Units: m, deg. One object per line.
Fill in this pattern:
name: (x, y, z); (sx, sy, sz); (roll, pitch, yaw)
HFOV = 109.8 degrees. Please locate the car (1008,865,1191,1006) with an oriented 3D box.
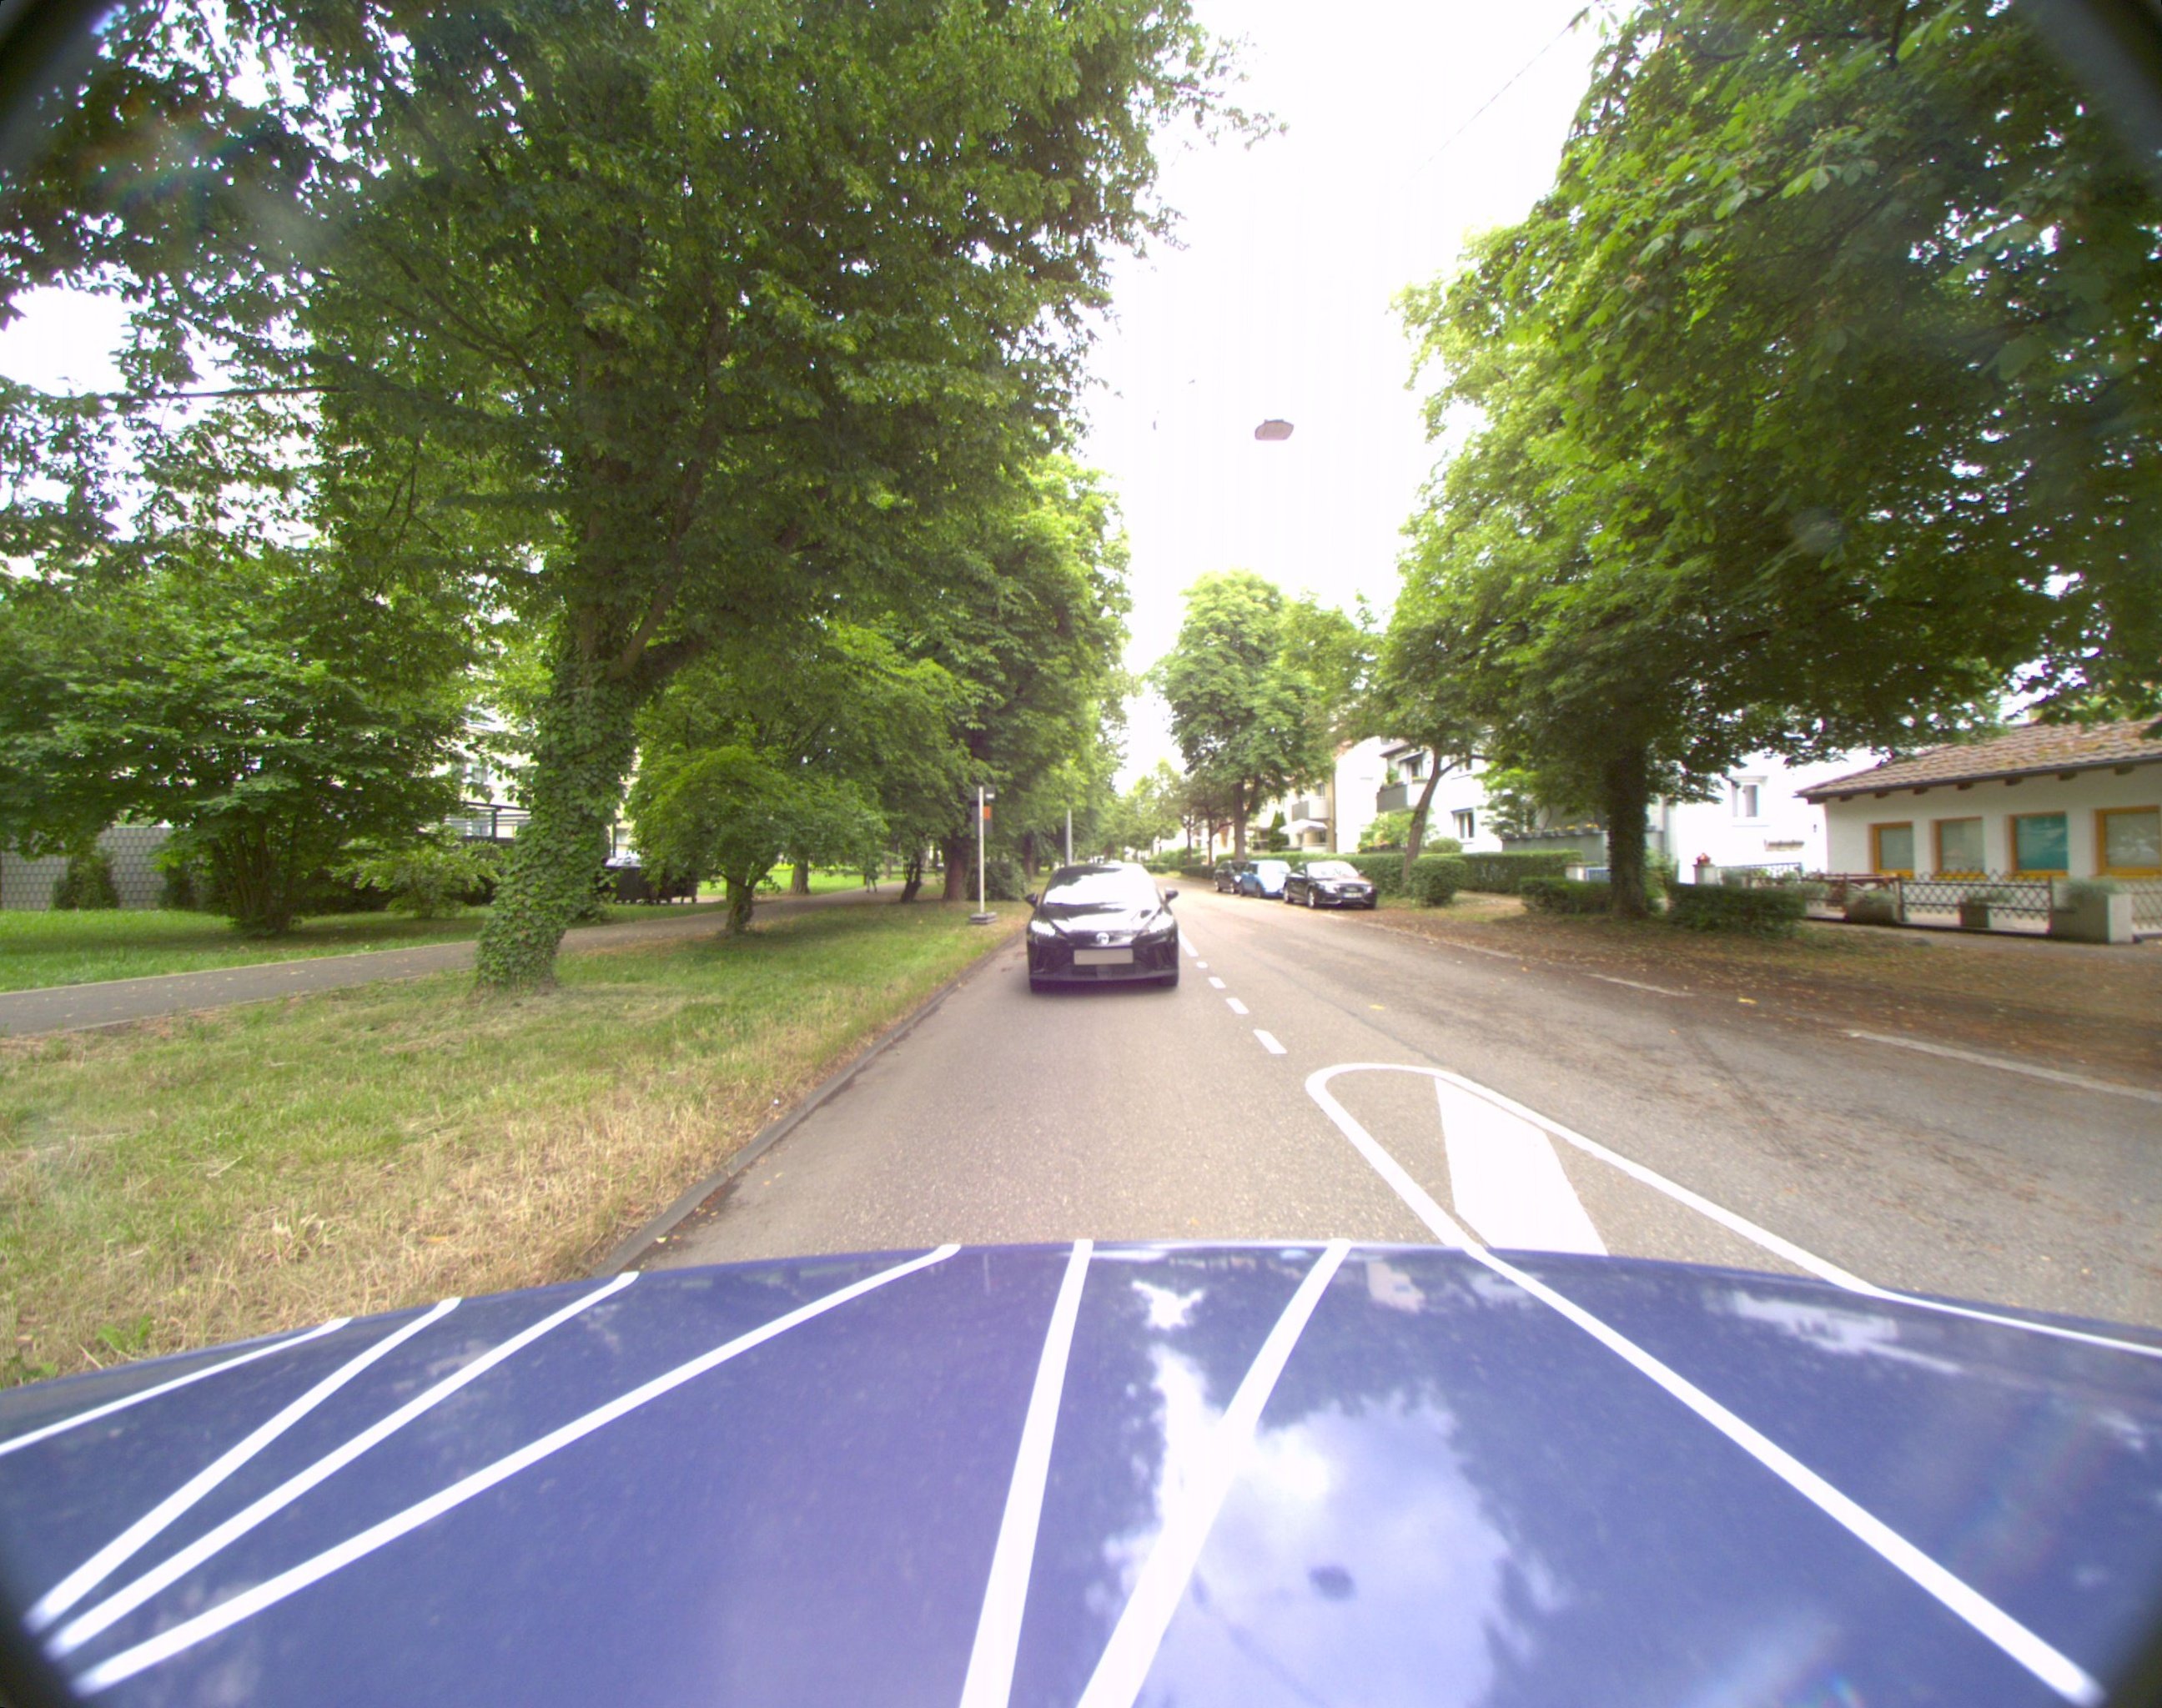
car: (0.227, 0.925, 10.612); (1.998, 1.491, 4.615); (0, 0, 1)

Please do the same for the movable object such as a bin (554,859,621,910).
movable object such as a bin: (-14.579, 0.873, 22.497); (1.194, 1.448, 1.348); (0, 0, -8)

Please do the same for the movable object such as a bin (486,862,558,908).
movable object such as a bin: (-16.520, 0.896, 22.494); (1.194, 1.334, 1.348); (0, 0, -8)

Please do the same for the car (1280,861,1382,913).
car: (7.399, 0.920, 22.888); (1.735, 1.394, 4.172); (0, 0, 1)

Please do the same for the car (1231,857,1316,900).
car: (7.200, 0.886, 28.910); (1.889, 1.492, 4.565); (0, 0, -3)

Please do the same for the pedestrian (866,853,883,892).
pedestrian: (-9.453, 0.837, 34.772); (0.565, 1.730, 0.570); (1, 0, 0)

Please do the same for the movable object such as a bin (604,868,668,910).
movable object such as a bin: (-13.262, 1.029, 22.690); (1.194, 1.213, 1.348); (0, 0, -8)

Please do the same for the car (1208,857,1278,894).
car: (7.070, 0.889, 33.663); (1.889, 1.524, 4.565); (0, 0, -3)

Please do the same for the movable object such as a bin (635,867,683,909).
movable object such as a bin: (-13.247, 1.048, 23.888); (1.026, 1.296, 0.960); (0, 0, -8)

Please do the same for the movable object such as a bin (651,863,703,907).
movable object such as a bin: (-13.250, 0.989, 24.982); (1.194, 1.405, 1.110); (0, 0, -8)
